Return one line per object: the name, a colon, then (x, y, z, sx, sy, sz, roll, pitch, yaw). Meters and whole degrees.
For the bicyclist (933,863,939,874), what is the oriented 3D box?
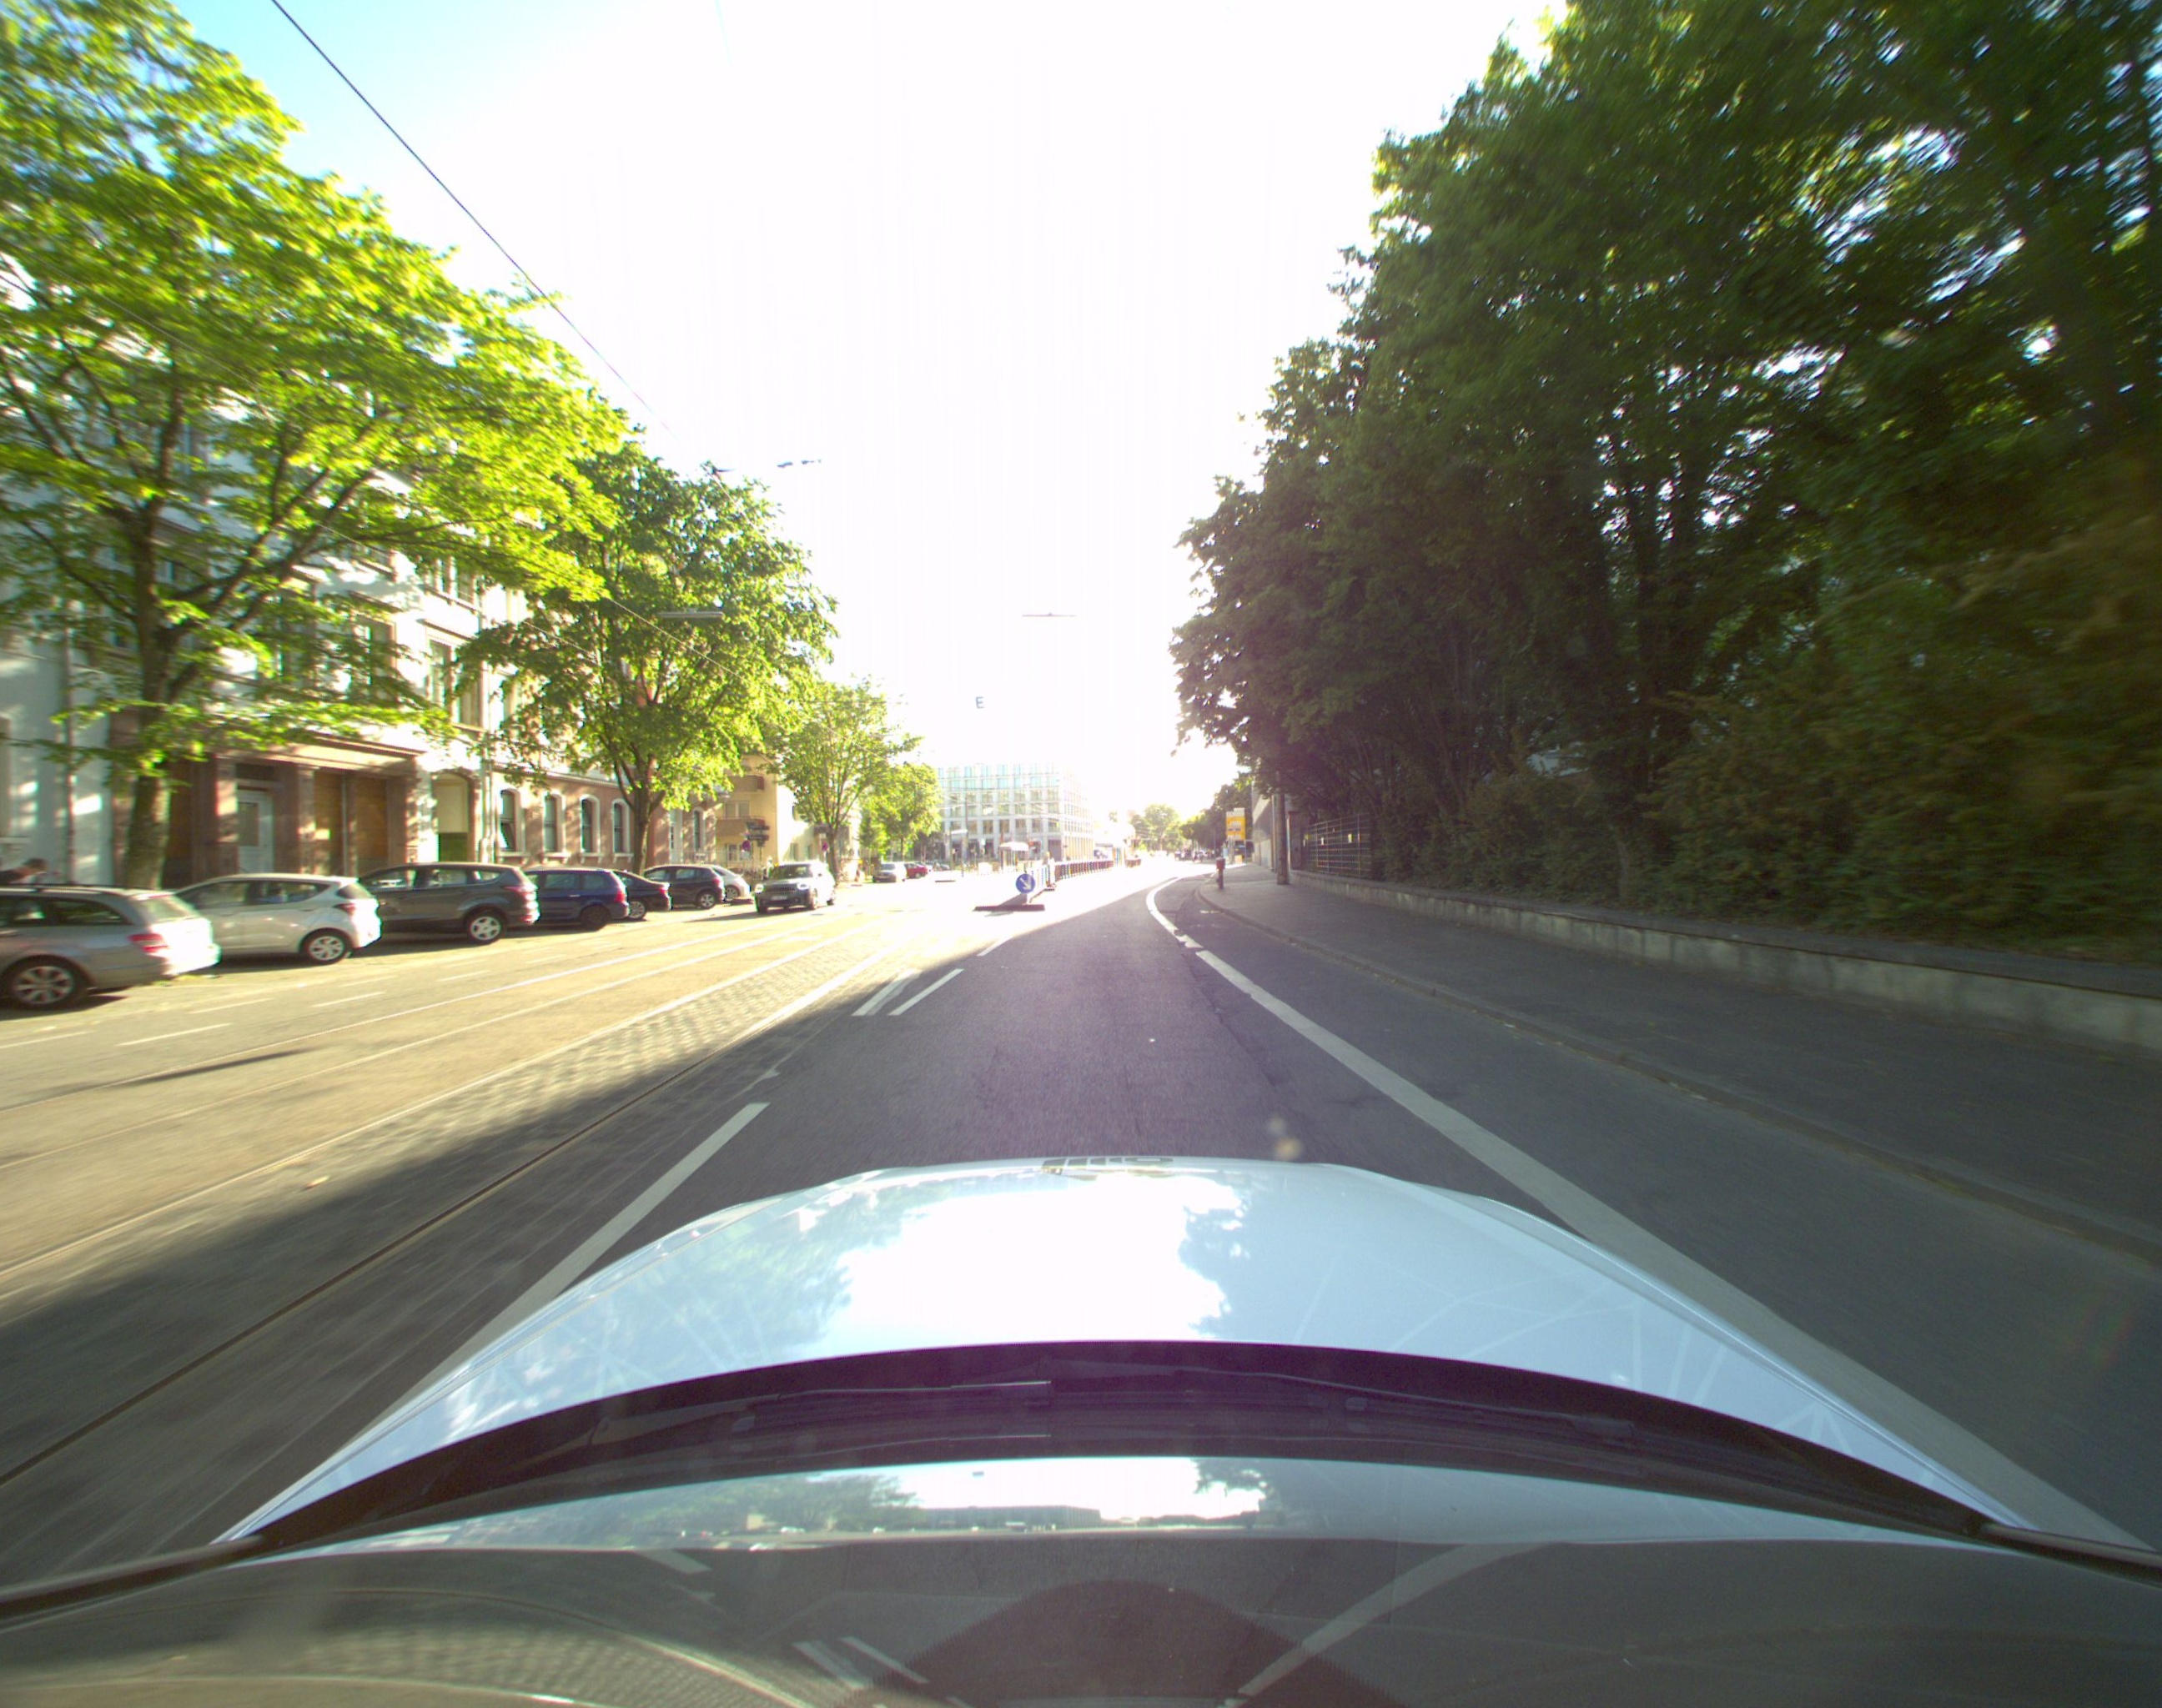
bicyclist: (-20.968, 2.050, 117.640, 0.613, 1.582, 0.597, -2, -1, 17)

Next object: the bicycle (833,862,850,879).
bicycle: (-20.699, 1.411, 70.368, 0.715, 1.398, 3.006, -1, 0, -4)

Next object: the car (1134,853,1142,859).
car: (16.078, 0.540, 229.048, 1.808, 1.712, 3.817, -2, 0, 11)

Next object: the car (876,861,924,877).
car: (-18.137, 1.510, 81.656, 4.519, 1.570, 1.578, 0, -1, -22)

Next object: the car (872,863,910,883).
car: (-14.168, 1.377, 60.957, 1.699, 1.410, 4.294, 0, 0, 2)

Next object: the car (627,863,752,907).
car: (-14.845, 1.161, 30.970, 3.936, 1.522, 1.715, 2, -1, -39)

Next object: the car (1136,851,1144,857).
car: (17.321, -0.103, 240.036, 1.808, 1.712, 3.817, -2, 0, 11)

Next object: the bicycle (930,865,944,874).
bicycle: (-20.811, 2.223, 117.635, 1.908, 1.122, 0.793, -2, -1, 16)

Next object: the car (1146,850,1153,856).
car: (21.104, -0.255, 251.281, 1.808, 1.712, 3.817, -2, 0, 11)

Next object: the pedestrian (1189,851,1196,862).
pedestrian: (18.867, 0.432, 137.676, 0.964, 1.784, 0.778, -2, -1, -6)

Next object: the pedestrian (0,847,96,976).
pedestrian: (-14.805, 0.789, 11.509, 0.764, 1.755, 0.804, -1, 0, -13)

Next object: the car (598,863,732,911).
car: (-14.299, 1.121, 28.049, 3.937, 1.508, 1.672, 2, -1, -34)

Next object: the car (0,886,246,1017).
car: (-13.325, 1.164, 10.053, 3.835, 1.485, 1.753, 1, -2, -32)

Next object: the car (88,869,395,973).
car: (-14.006, 1.078, 13.883, 3.293, 1.533, 1.690, 2, -1, -34)

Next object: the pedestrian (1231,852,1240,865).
pedestrian: (20.913, 0.555, 110.207, 1.036, 1.721, 1.035, -2, -1, -1)

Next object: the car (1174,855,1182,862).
car: (22.320, 1.029, 187.509, 1.674, 1.737, 3.519, 0, -1, 11)

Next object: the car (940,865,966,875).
car: (-19.434, 2.403, 123.468, 3.510, 1.506, 1.526, -1, 0, 8)

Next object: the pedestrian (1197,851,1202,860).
pedestrian: (20.342, 0.244, 140.056, 0.761, 1.558, 0.587, -2, -1, -6)

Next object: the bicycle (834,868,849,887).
bicycle: (-15.030, 1.464, 51.131, 0.262, 1.116, 1.409, -1, -1, 10)

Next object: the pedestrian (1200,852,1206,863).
pedestrian: (20.774, 0.573, 138.423, 0.846, 1.784, 0.778, -2, -1, -6)

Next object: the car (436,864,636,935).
car: (-13.546, 1.076, 20.392, 4.004, 1.617, 1.616, 1, -1, -38)

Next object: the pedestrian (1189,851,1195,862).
pedestrian: (19.132, 0.472, 140.112, 0.846, 1.784, 0.778, -2, -1, -6)

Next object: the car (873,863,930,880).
car: (-15.610, 1.522, 70.791, 4.521, 1.426, 1.858, 0, -1, -24)

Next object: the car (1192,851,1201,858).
car: (26.046, 0.206, 183.795, 1.674, 1.501, 3.519, 0, -1, 11)

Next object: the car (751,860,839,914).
car: (-9.469, 1.020, 27.325, 1.869, 1.601, 4.416, -2, 0, -7)

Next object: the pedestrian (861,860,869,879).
pedestrian: (-18.820, 1.364, 70.913, 0.508, 1.671, 0.490, -1, -1, 3)

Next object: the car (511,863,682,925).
car: (-13.769, 1.094, 23.226, 4.004, 1.617, 1.616, 1, -1, -38)

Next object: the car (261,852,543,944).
car: (-13.899, 0.906, 17.079, 4.303, 1.723, 1.689, 2, -2, -34)

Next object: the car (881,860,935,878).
car: (-15.570, 1.363, 73.461, 4.534, 1.642, 1.573, 1, -2, -35)

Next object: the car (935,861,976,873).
car: (-14.596, 1.503, 94.571, 4.519, 1.350, 1.578, 0, -1, -22)
